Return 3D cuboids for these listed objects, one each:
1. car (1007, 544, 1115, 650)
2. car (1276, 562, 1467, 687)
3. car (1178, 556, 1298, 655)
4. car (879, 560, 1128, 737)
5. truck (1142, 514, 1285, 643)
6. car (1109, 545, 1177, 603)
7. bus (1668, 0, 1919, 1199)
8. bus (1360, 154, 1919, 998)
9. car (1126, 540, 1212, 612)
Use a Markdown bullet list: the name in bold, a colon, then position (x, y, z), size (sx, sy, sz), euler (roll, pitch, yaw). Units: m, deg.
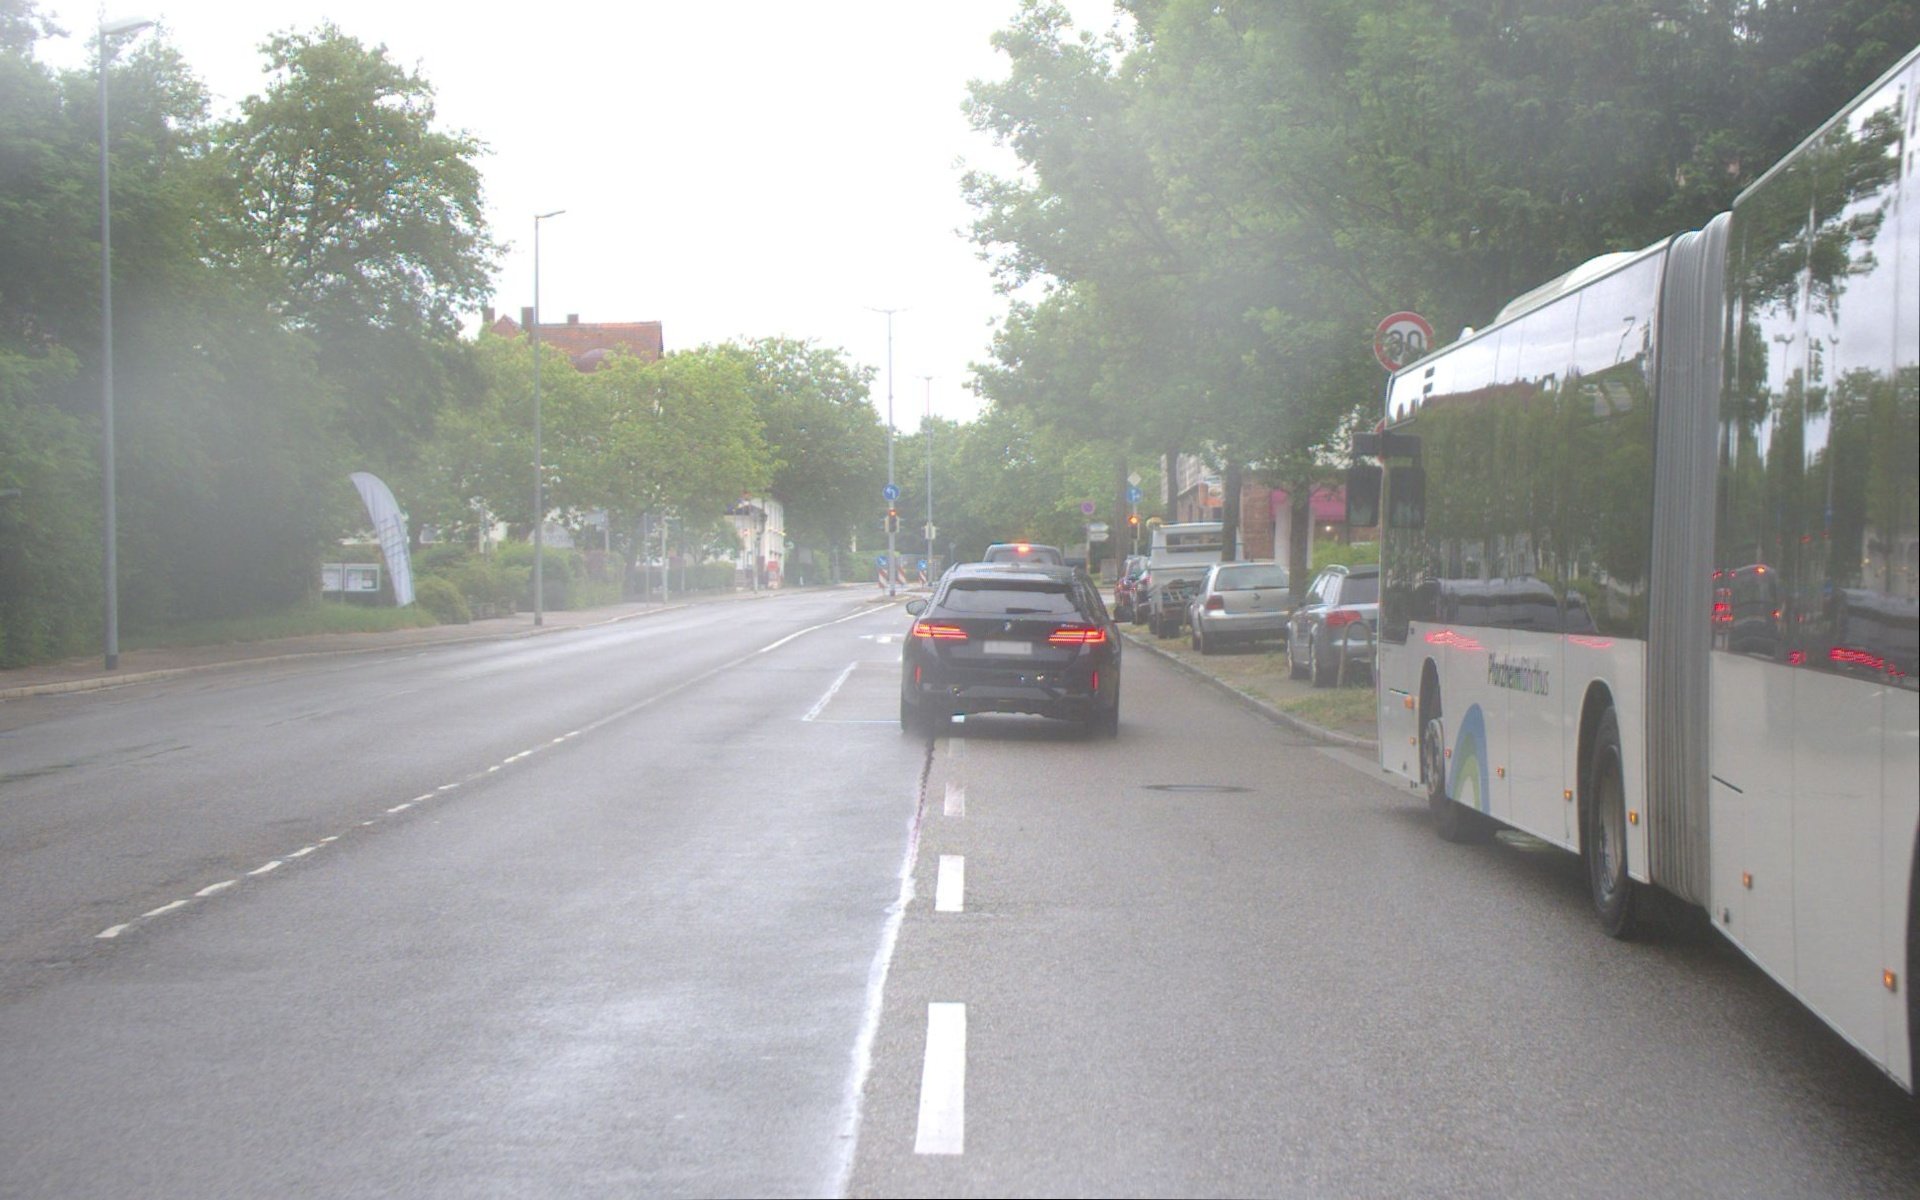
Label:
- **car**: position (1.778, -0.075, 61.478), size (1.784, 1.811, 4.000), euler (1, 1, 0)
- **car**: position (4.839, 0.257, 40.933), size (1.688, 1.385, 4.500), euler (-1, 0, 0)
- **car**: position (4.374, 0.071, 54.481), size (1.601, 1.431, 4.021), euler (-3, 1, 1)
- **car**: position (0.349, 0.401, 31.327), size (2.064, 1.441, 4.483), euler (2, 0, -1)
- **truck**: position (4.670, -0.406, 64.225), size (2.080, 2.214, 6.502), euler (-2, 0, 0)
- **car**: position (4.889, -0.713, 92.338), size (1.584, 1.485, 3.627), euler (-1, 1, 0)
- **bus**: position (3.370, -0.038, 7.832), size (2.556, 2.949, 8.555), euler (1, 0, 6)
- **bus**: position (3.767, -0.113, 16.780), size (2.556, 2.949, 9.450), euler (1, 0, 0)
- **car**: position (4.642, -0.545, 76.861), size (1.714, 1.493, 4.183), euler (-2, 0, 1)
